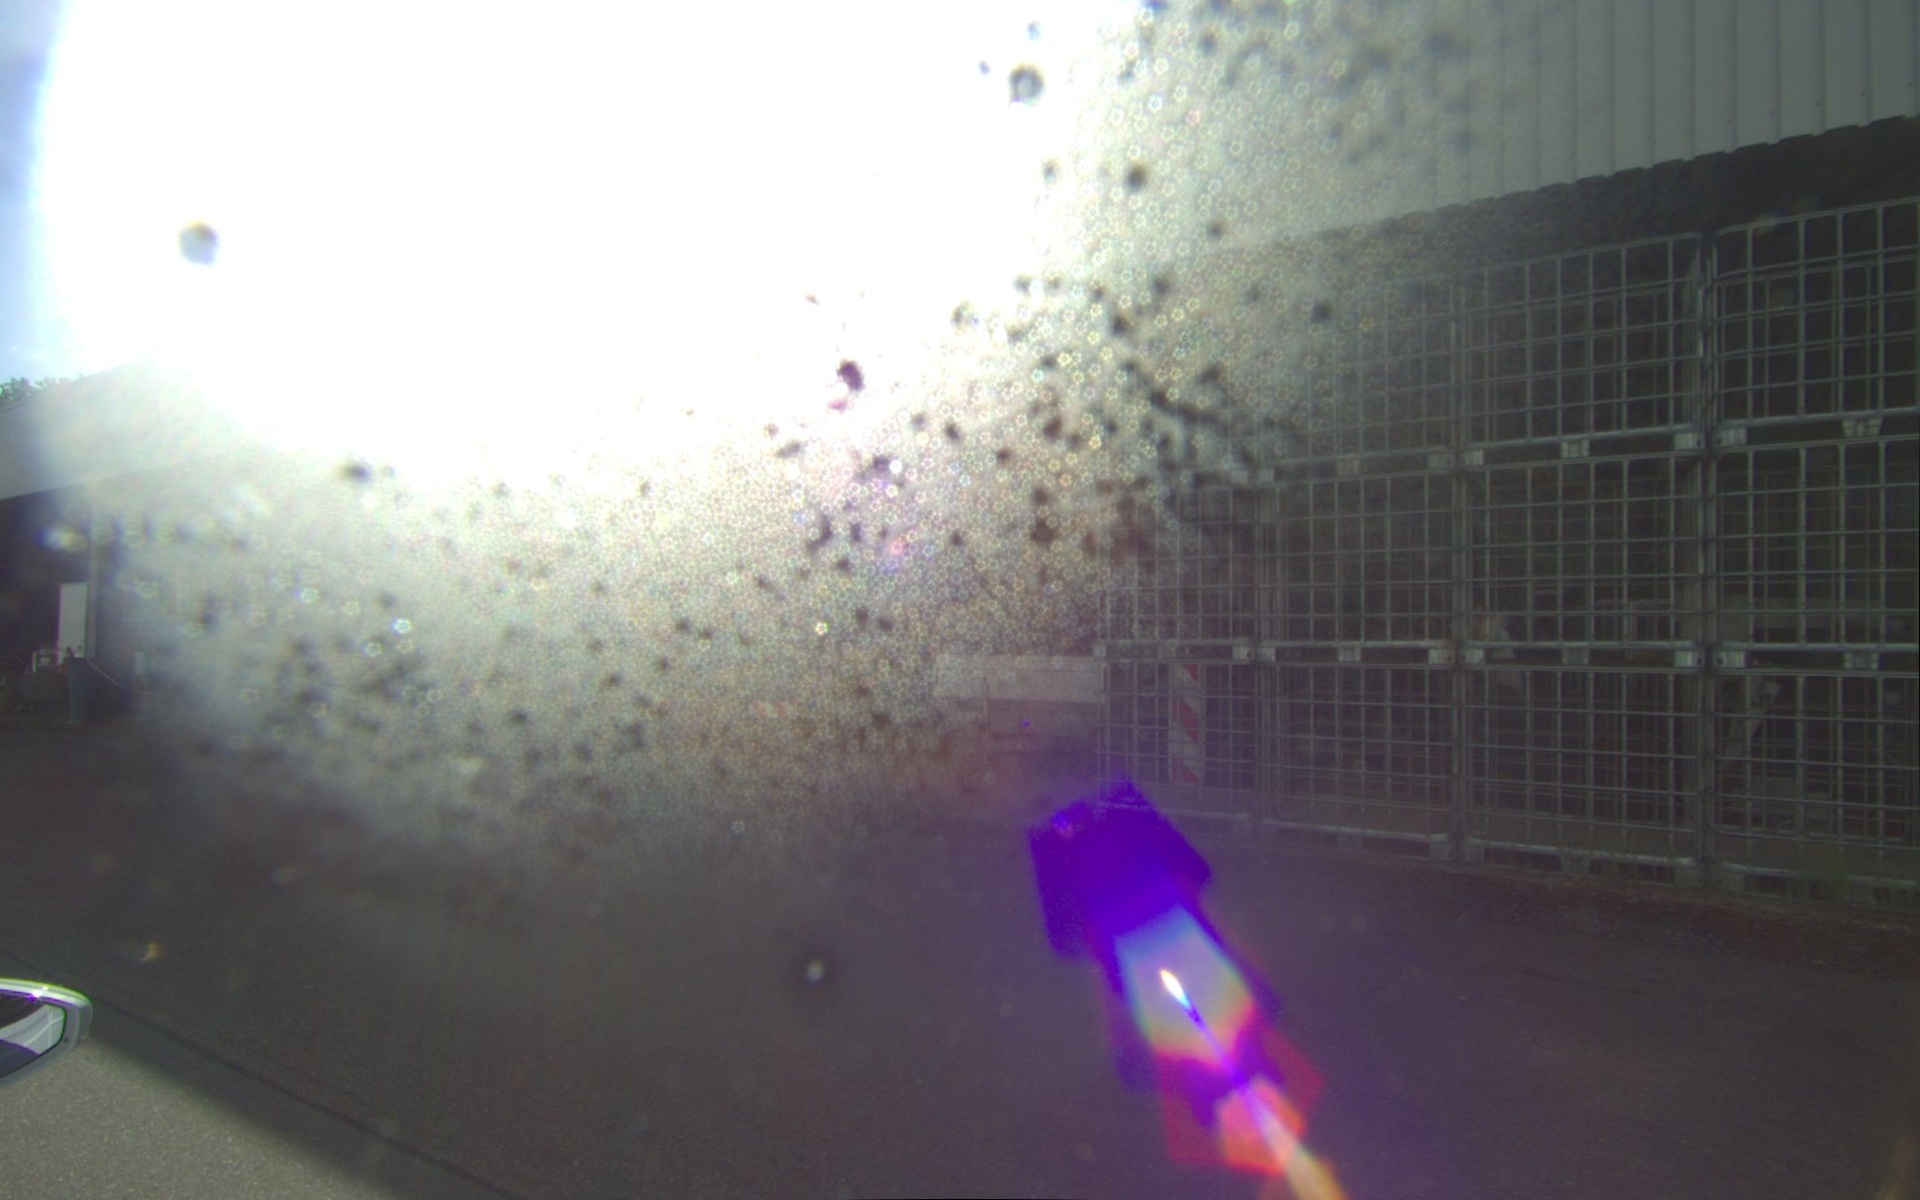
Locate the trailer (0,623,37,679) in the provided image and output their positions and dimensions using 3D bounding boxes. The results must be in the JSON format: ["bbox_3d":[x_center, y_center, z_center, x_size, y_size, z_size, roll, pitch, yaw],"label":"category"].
[{"bbox_3d":[-26.691,1.387,27.246,1.715,1.485,2.032,-1,-1,36],"label":"trailer"}]

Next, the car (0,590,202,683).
[{"bbox_3d":[-23.922,0.981,26.846,2.121,2.310,5.326,-1,-2,31],"label":"car"}]

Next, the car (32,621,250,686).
[{"bbox_3d":[-20.934,1.356,25.774,1.812,1.533,3.962,-1,-2,28],"label":"car"}]

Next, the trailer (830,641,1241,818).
[{"bbox_3d":[1.184,1.076,10.352,1.945,1.200,5.721,-1,-2,30],"label":"trailer"}]

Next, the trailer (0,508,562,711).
[{"bbox_3d":[-13.959,0.265,21.815,2.761,3.386,10.250,0,-1,32],"label":"trailer"}]

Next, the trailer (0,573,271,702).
[{"bbox_3d":[-17.383,0.754,20.920,2.018,2.372,4.508,-1,-1,32],"label":"trailer"}]

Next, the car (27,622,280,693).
[{"bbox_3d":[-18.754,1.298,23.508,1.841,1.490,4.246,0,-2,28],"label":"car"}]

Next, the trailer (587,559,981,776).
[{"bbox_3d":[-1.819,0.688,11.749,2.133,2.016,4.414,-1,-2,33],"label":"trailer"}]
